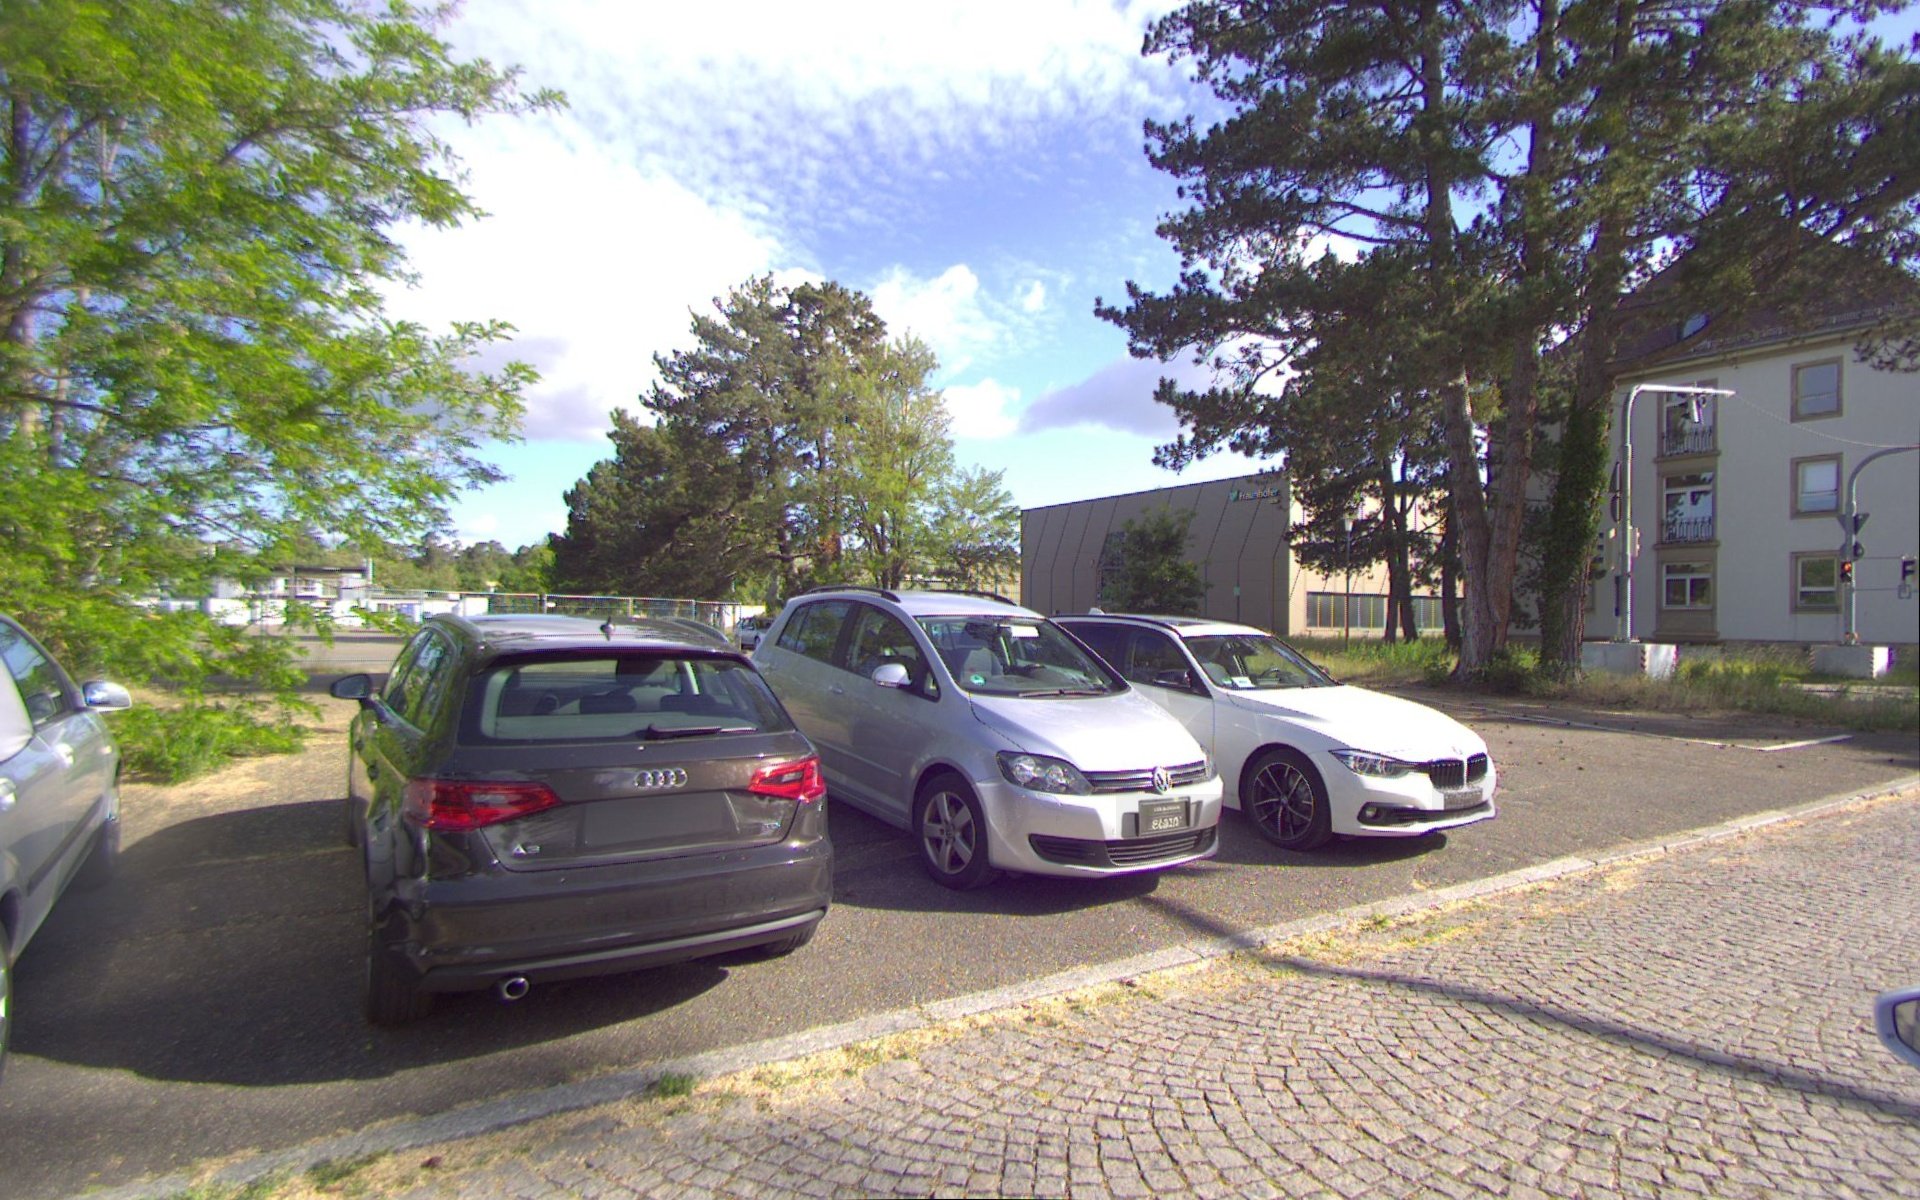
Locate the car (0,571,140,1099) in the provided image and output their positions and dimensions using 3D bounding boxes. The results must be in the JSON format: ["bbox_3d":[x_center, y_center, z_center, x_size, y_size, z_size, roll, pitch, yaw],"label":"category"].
[{"bbox_3d":[-4.142,0.668,3.500,1.619,1.490,3.443,1,2,-34],"label":"car"}]

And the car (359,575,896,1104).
[{"bbox_3d":[-1.972,0.693,5.022,1.669,1.490,3.775,1,2,-32],"label":"car"}]

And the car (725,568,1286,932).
[{"bbox_3d":[-0.001,0.672,6.789,1.705,1.648,3.916,1,2,-35],"label":"car"}]

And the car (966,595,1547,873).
[{"bbox_3d":[2.033,0.795,8.274,1.734,1.487,4.512,1,2,-34],"label":"car"}]

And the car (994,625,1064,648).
[{"bbox_3d":[4.103,2.167,59.395,4.002,1.311,1.480,1,-1,-30],"label":"car"}]

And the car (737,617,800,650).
[{"bbox_3d":[-8.637,1.485,45.159,1.726,1.388,3.594,1,-1,-29],"label":"car"}]
